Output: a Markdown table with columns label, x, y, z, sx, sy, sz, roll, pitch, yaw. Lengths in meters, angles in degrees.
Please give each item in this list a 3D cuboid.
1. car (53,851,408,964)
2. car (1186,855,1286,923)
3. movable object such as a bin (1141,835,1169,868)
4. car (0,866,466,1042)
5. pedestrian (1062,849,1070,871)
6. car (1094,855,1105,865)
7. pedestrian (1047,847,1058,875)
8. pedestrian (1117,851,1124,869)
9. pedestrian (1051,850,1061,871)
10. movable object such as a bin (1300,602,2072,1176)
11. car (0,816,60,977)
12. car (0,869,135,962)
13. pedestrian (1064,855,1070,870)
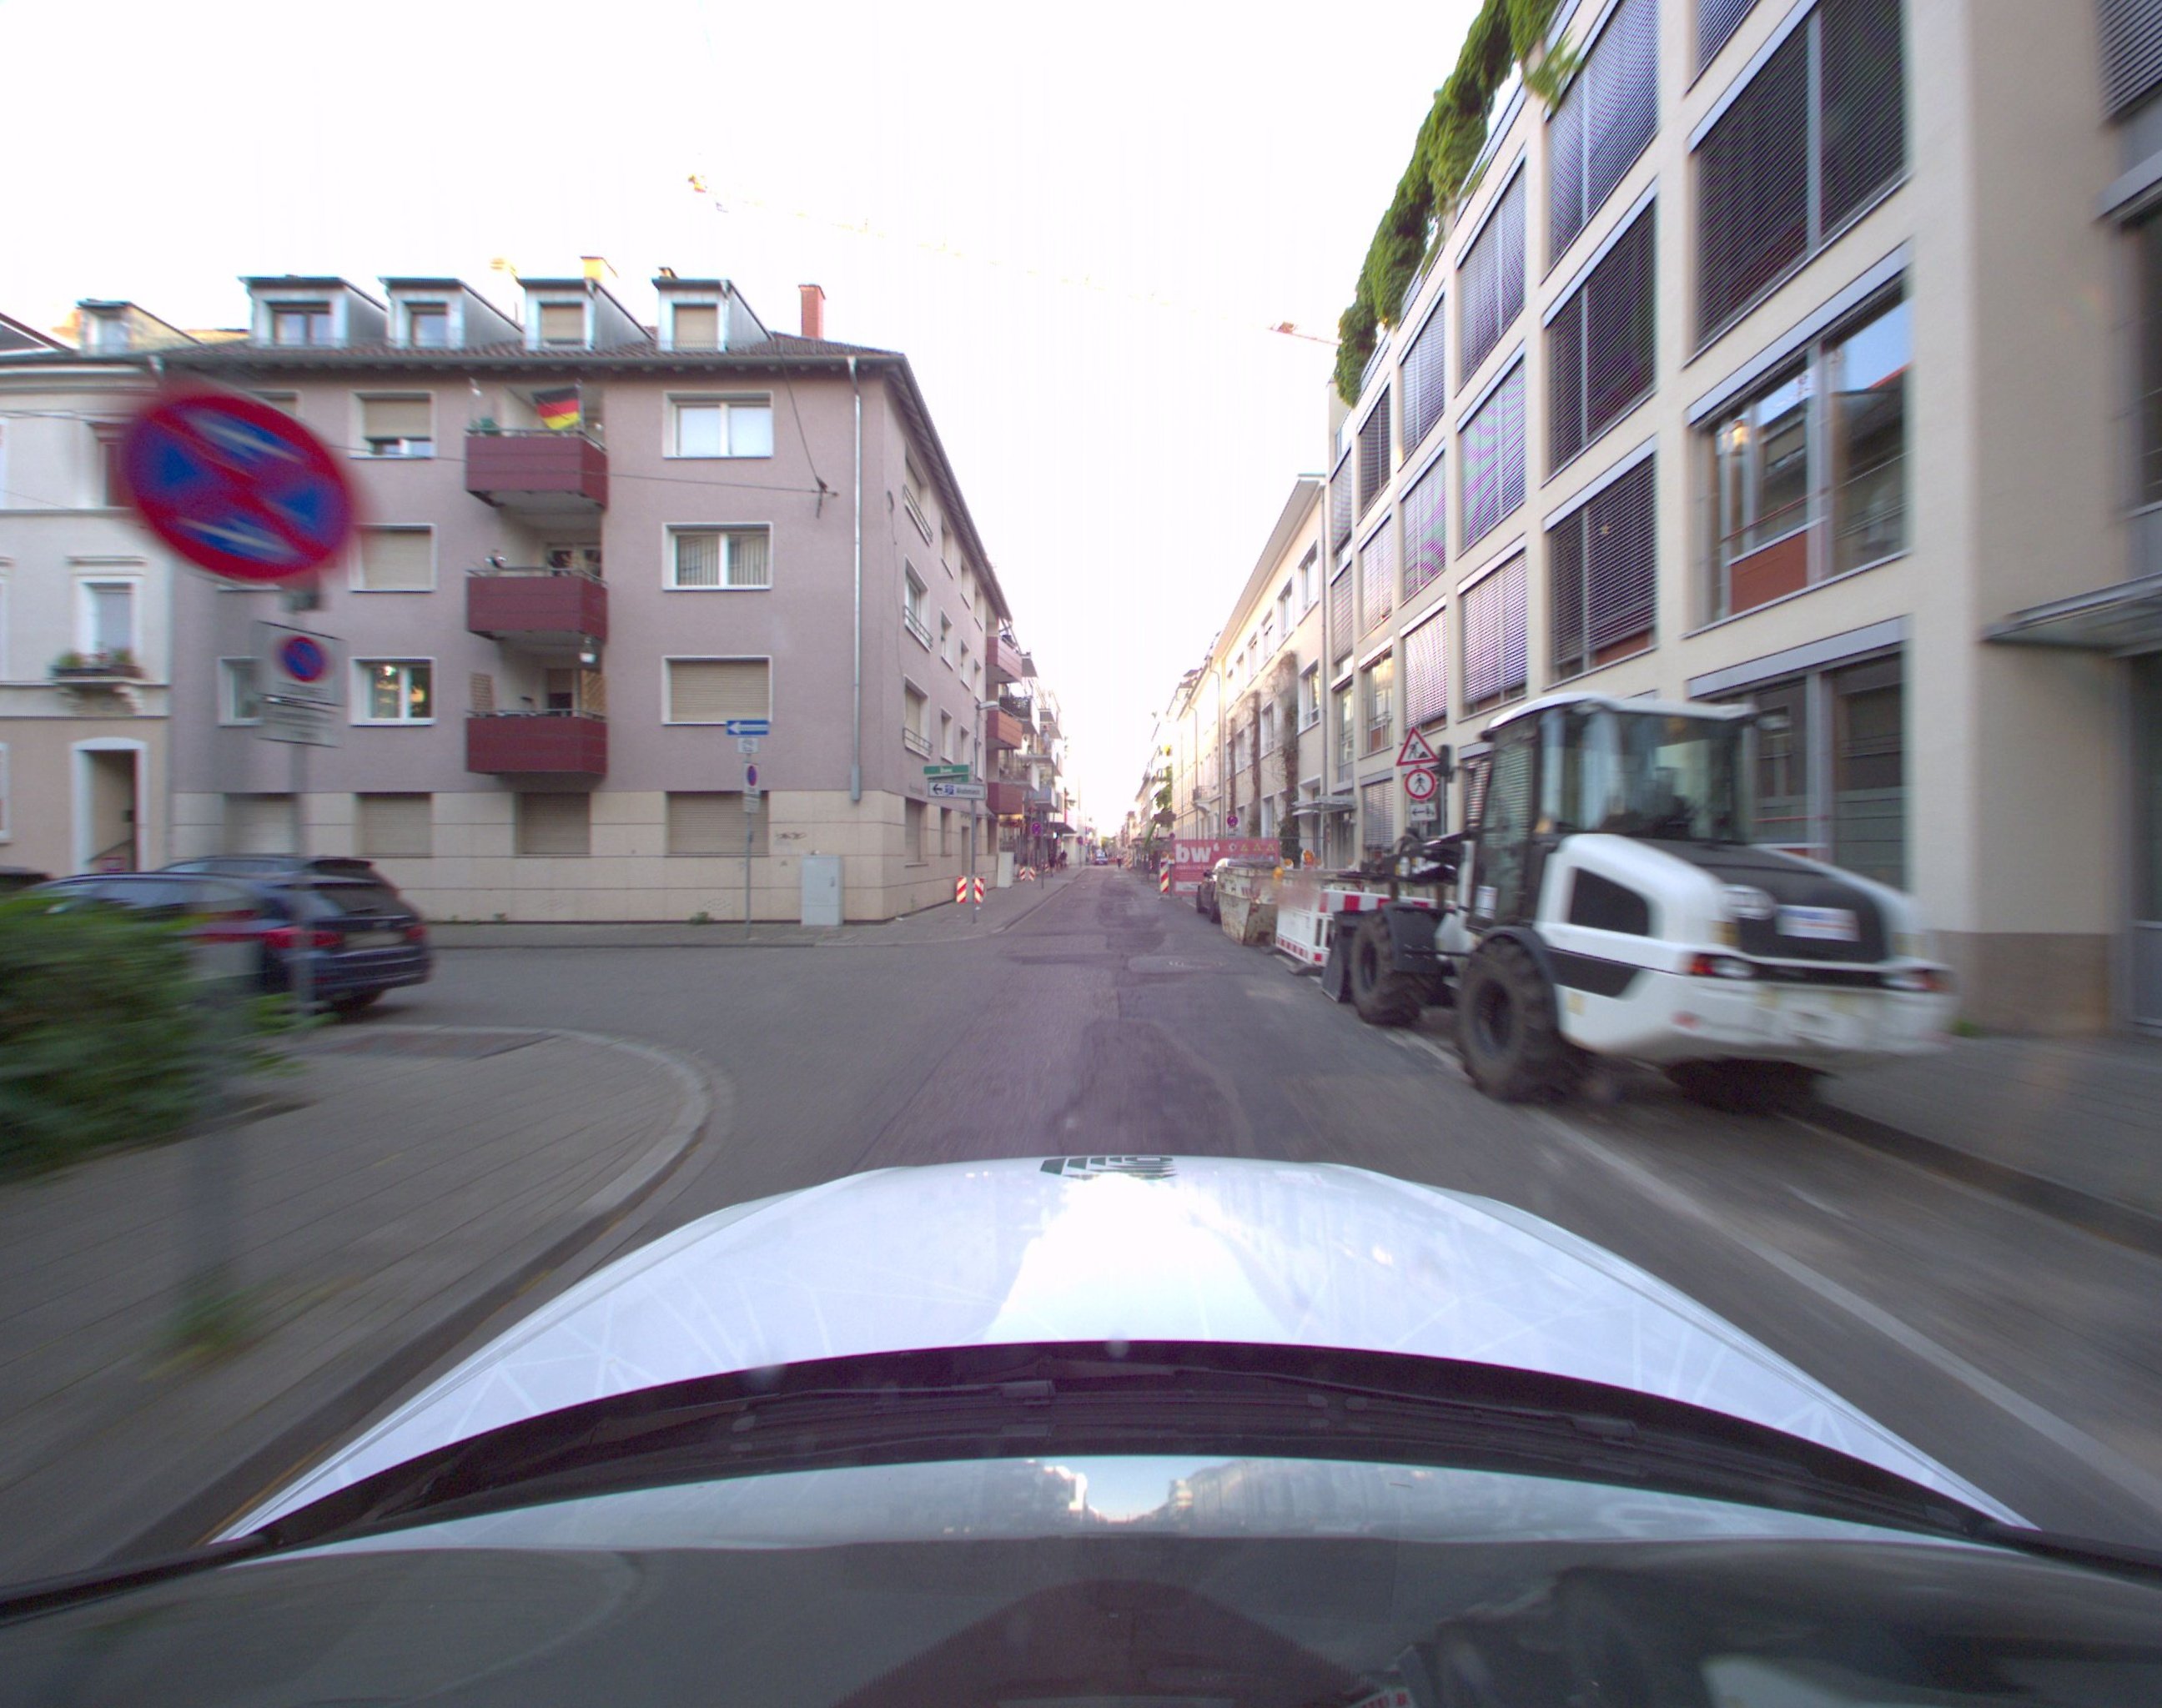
| label | x | y | z | sx | sy | sz | roll | pitch | yaw |
| --- | --- | --- | --- | --- | --- | --- | --- | --- | --- |
| car | -13.699 | 0.844 | 13.315 | 3.820 | 1.656 | 1.795 | -1 | -2 | 0 |
| car | 3.594 | 0.741 | 19.582 | 1.687 | 1.406 | 4.481 | 1 | 0 | 2 |
| movable object such as a bin | 7.253 | -0.280 | 80.271 | 2.461 | 3.130 | 4.300 | 1 | 1 | 2 |
| car | -8.767 | 0.884 | 7.868 | 4.330 | 1.458 | 1.686 | -1 | 0 | 0 |
| pedestrian | -1.316 | 0.551 | 71.568 | 0.651 | 1.886 | 0.575 | -1 | 0 | 6 |
| car | 2.495 | 0.789 | 111.893 | 1.468 | 1.398 | 3.333 | 0 | 0 | 2 |
| pedestrian | -1.868 | 0.447 | 53.861 | 0.626 | 1.808 | 0.648 | 0 | 0 | 3 |
| pedestrian | 3.922 | 0.592 | 80.953 | 0.718 | 1.740 | 0.647 | 0 | 0 | -1 |
| pedestrian | -1.891 | 0.470 | 61.810 | 0.646 | 1.565 | 0.628 | -1 | -1 | -13 |
| movable object such as a bin | 3.482 | 0.146 | 6.467 | 2.158 | 2.596 | 5.545 | 0 | 0 | 2 |
| car | -13.226 | 0.447 | 7.949 | 4.352 | 1.640 | 1.830 | 0 | 1 | 3 |
| car | -19.063 | 1.032 | 13.802 | 3.824 | 1.448 | 1.760 | -1 | 0 | -3 |
| pedestrian | -1.365 | 0.787 | 78.539 | 0.556 | 1.391 | 0.893 | -1 | 0 | 2 |
